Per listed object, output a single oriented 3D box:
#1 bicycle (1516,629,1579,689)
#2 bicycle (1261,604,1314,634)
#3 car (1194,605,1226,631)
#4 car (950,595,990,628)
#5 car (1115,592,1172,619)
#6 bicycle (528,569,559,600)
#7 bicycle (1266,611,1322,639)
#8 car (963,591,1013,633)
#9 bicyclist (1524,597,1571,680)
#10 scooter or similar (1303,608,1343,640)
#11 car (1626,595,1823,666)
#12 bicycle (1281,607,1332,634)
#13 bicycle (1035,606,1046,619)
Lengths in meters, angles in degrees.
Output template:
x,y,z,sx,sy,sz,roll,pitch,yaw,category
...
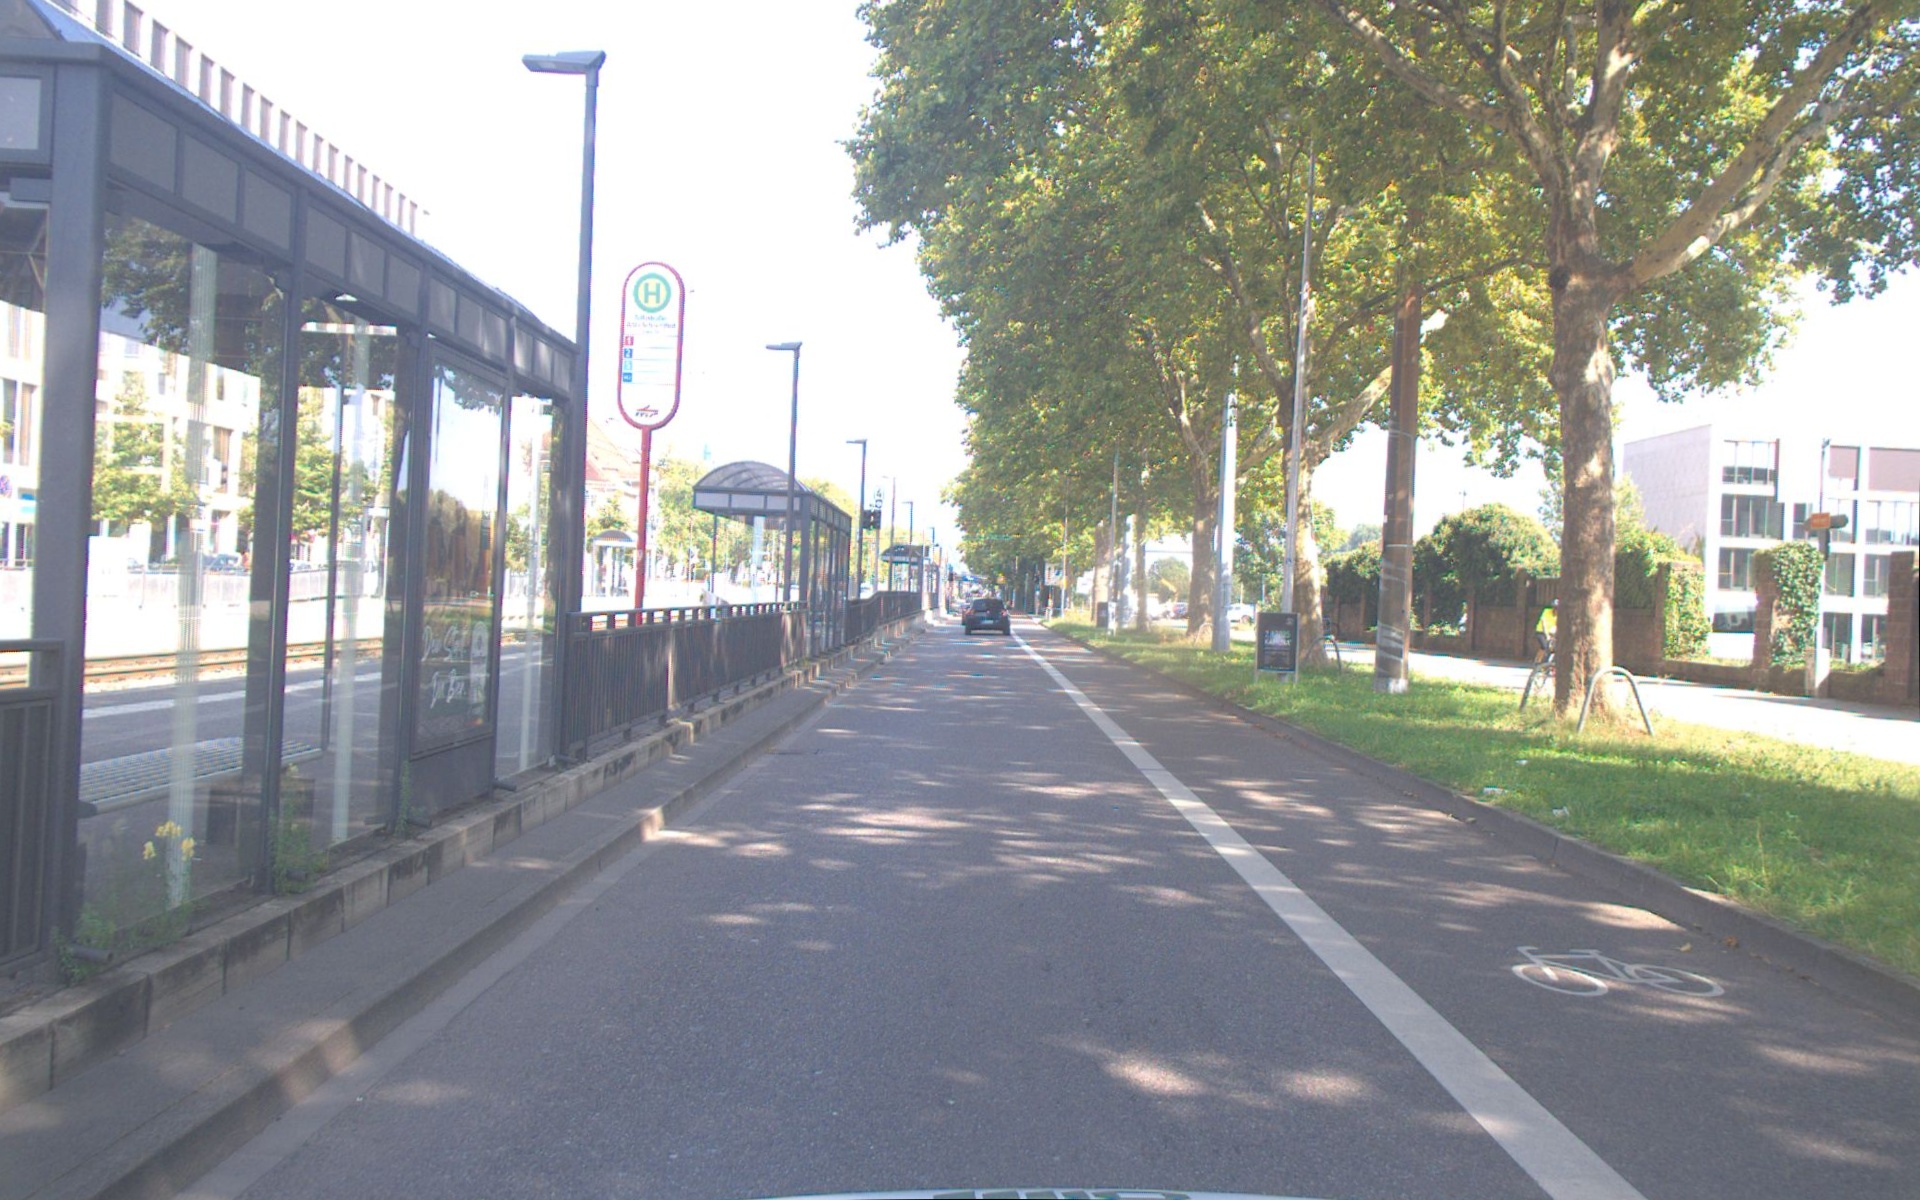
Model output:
x,y,z,sx,sy,sz,roll,pitch,yaw,category
10.790,1.066,30.425,0.537,1.024,1.713,2,0,1,bicycle
14.599,0.858,73.779,2.198,1.299,0.998,0,-1,0,bicycle
16.522,1.170,109.591,1.574,1.603,3.797,1,0,1,car
0.481,0.569,83.463,1.933,1.564,4.000,-1,0,0,car
13.496,0.414,121.752,4.017,1.952,1.848,1,0,3,car
-16.293,-0.598,64.665,0.461,1.167,1.484,2,0,15,bicycle
13.977,1.043,69.256,2.129,1.095,0.743,2,0,-1,bicycle
1.058,0.465,64.260,1.868,1.564,4.000,0,0,0,car
10.810,0.698,30.452,0.537,1.478,0.842,2,0,1,bicyclist
14.252,0.935,64.949,1.474,1.212,0.539,1,-1,4,scooter or similar
20.648,0.797,44.792,4.430,1.764,1.909,2,0,-2,car
13.913,0.820,66.416,1.829,1.024,0.735,2,0,-1,bicycle
6.675,1.047,137.272,0.598,1.039,2.401,2,0,-3,bicycle
